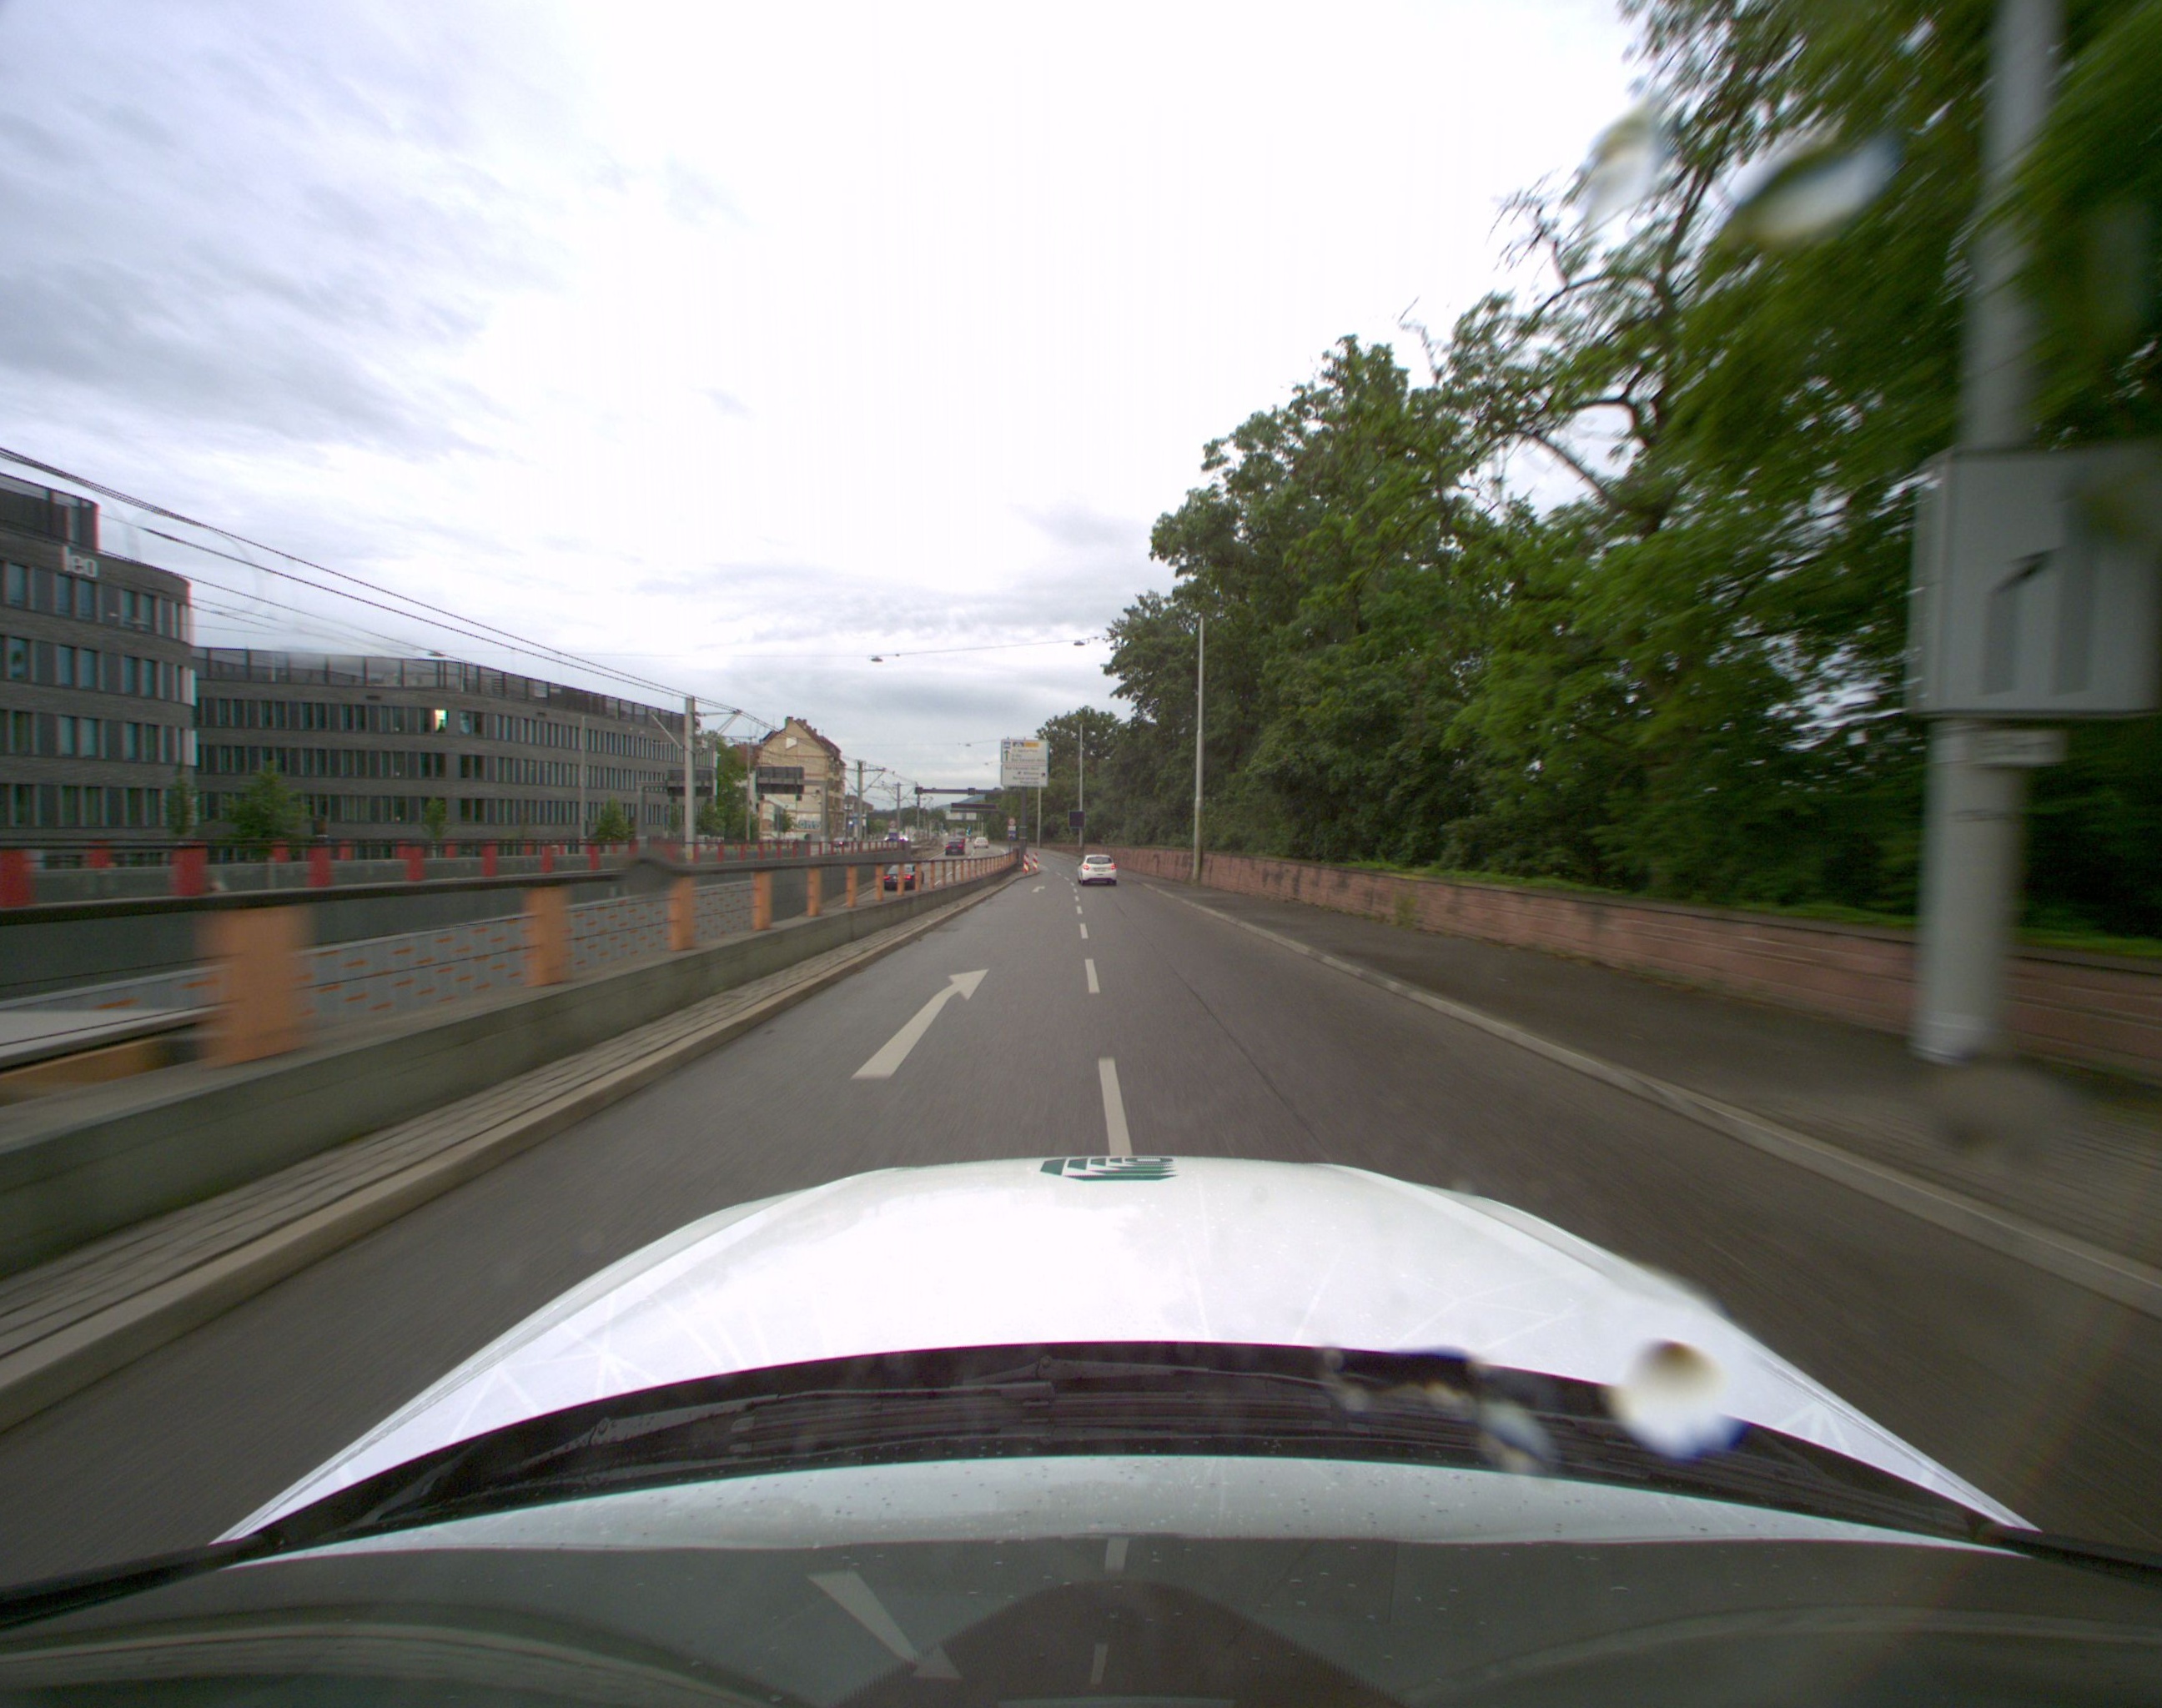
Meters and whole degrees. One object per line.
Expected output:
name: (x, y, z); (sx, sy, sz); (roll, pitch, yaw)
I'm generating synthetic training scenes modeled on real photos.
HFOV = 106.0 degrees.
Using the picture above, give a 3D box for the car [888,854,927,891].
car: (-10.258, 1.059, 48.347); (1.717, 1.891, 3.533); (0, 3, -3)

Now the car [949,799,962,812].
car: (-20.548, -7.904, 132.979); (1.993, 1.872, 3.986); (-1, -1, -10)

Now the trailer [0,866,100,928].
trailer: (-37.236, 1.466, 27.990); (1.820, 2.074, 4.271); (1, -1, -2)

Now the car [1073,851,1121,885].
car: (0.729, 0.741, 40.219); (1.952, 1.488, 3.991); (1, -3, -6)

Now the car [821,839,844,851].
car: (-33.367, -1.192, 109.558); (1.819, 1.585, 3.832); (1, 1, 1)

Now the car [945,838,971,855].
car: (-11.960, -0.724, 79.658); (1.988, 1.576, 3.997); (-1, -1, -1)

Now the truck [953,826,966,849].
truck: (-33.020, -4.398, 221.642); (3.463, 5.402, 12.013); (1, -3, -8)

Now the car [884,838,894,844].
car: (-47.950, -3.292, 203.571); (1.823, 1.585, 3.822); (0, 1, -7)

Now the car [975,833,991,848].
car: (-13.169, -1.778, 109.036); (2.081, 1.872, 4.083); (-1, -1, -9)
